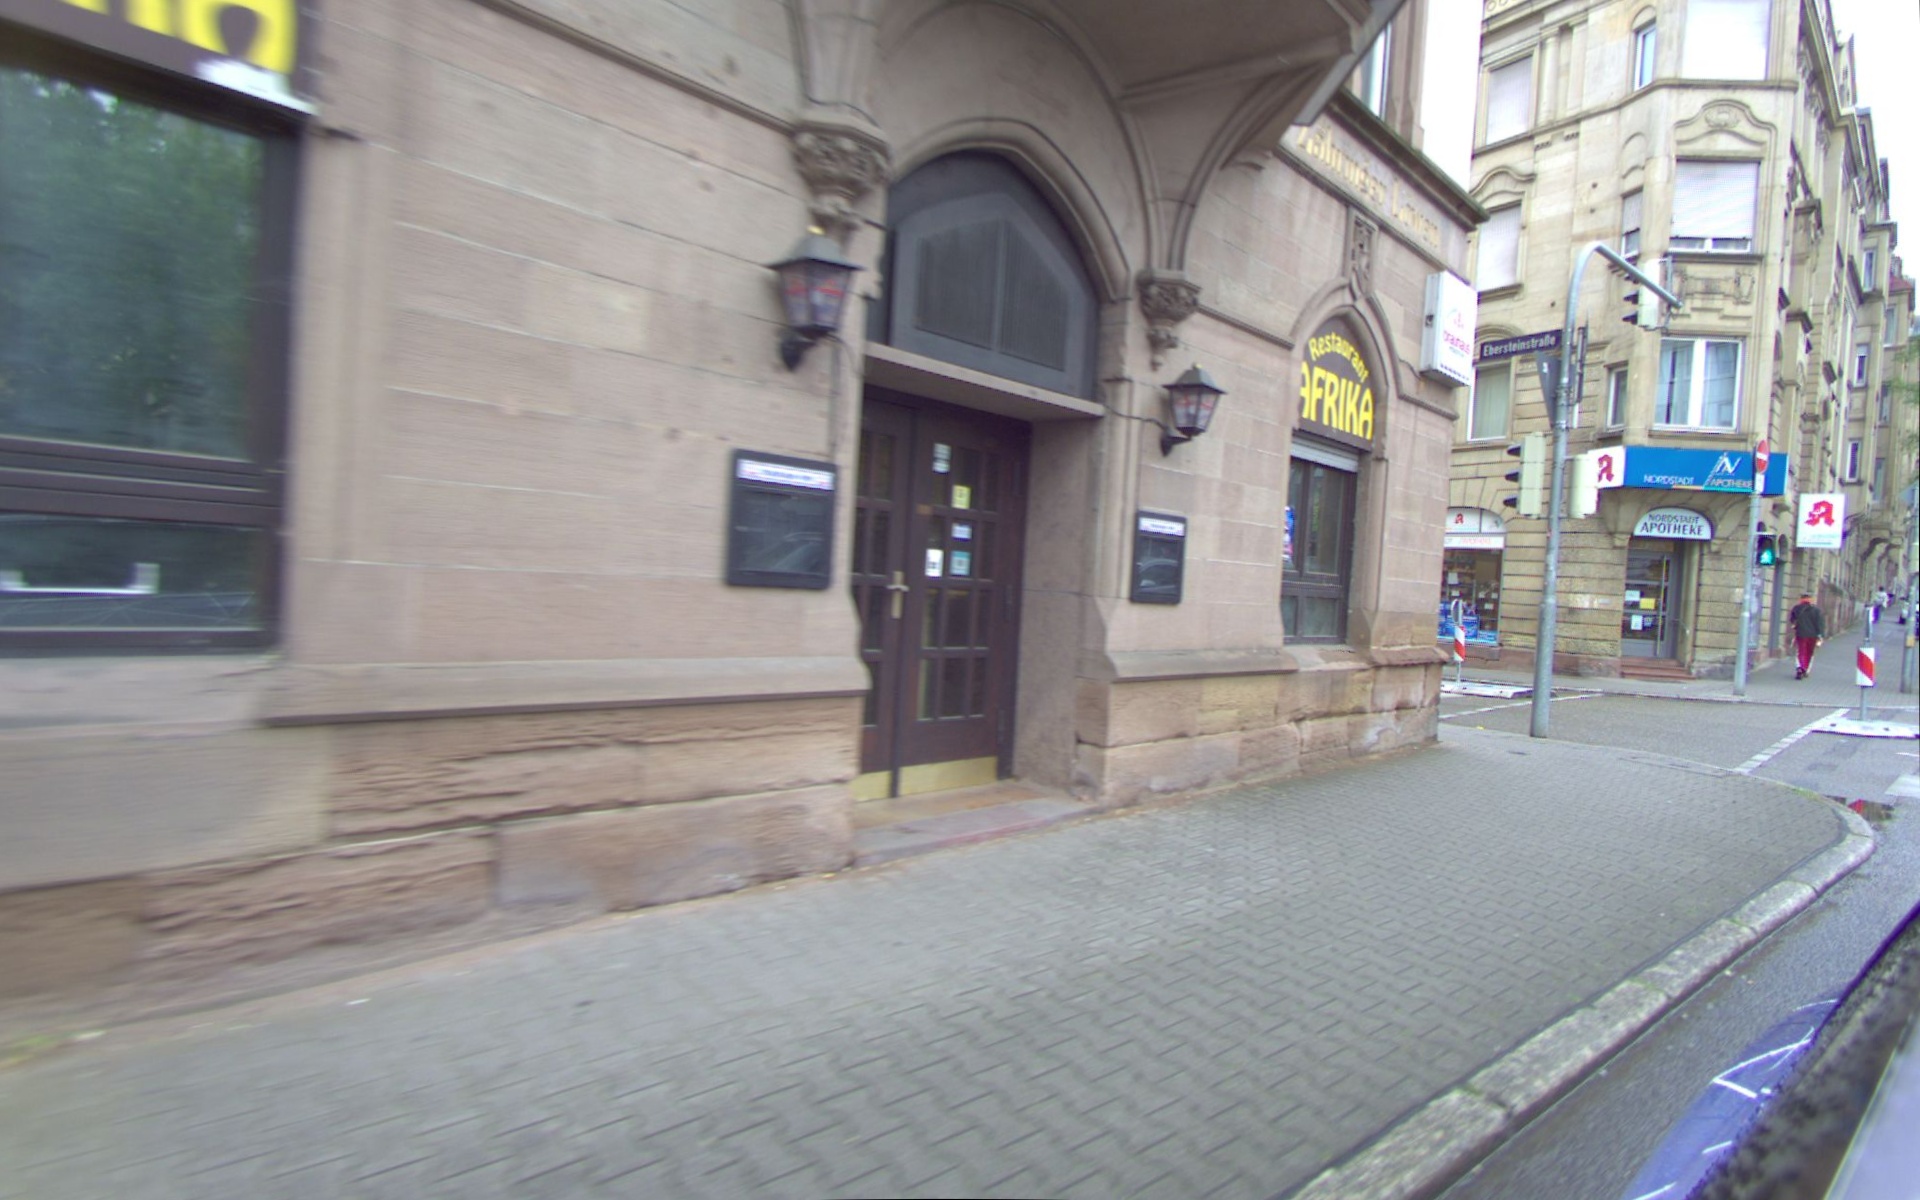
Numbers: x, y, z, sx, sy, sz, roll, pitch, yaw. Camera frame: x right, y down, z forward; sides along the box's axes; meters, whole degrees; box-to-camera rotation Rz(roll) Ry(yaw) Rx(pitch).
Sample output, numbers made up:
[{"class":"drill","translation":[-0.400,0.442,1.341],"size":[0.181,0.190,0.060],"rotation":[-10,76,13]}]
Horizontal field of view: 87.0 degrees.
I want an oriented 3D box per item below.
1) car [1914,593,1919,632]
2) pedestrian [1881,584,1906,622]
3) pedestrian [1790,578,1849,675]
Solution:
[{"class":"car","translation":[42.251,0.567,43.522],"size":[3.437,1.636,1.524],"rotation":[-3,8,-45]},{"class":"pedestrian","translation":[39.843,0.137,43.185],"size":[0.680,1.513,0.644],"rotation":[-5,9,-44]},{"class":"pedestrian","translation":[18.153,0.530,21.368],"size":[1.070,1.973,0.700],"rotation":[-2,2,-36]}]
